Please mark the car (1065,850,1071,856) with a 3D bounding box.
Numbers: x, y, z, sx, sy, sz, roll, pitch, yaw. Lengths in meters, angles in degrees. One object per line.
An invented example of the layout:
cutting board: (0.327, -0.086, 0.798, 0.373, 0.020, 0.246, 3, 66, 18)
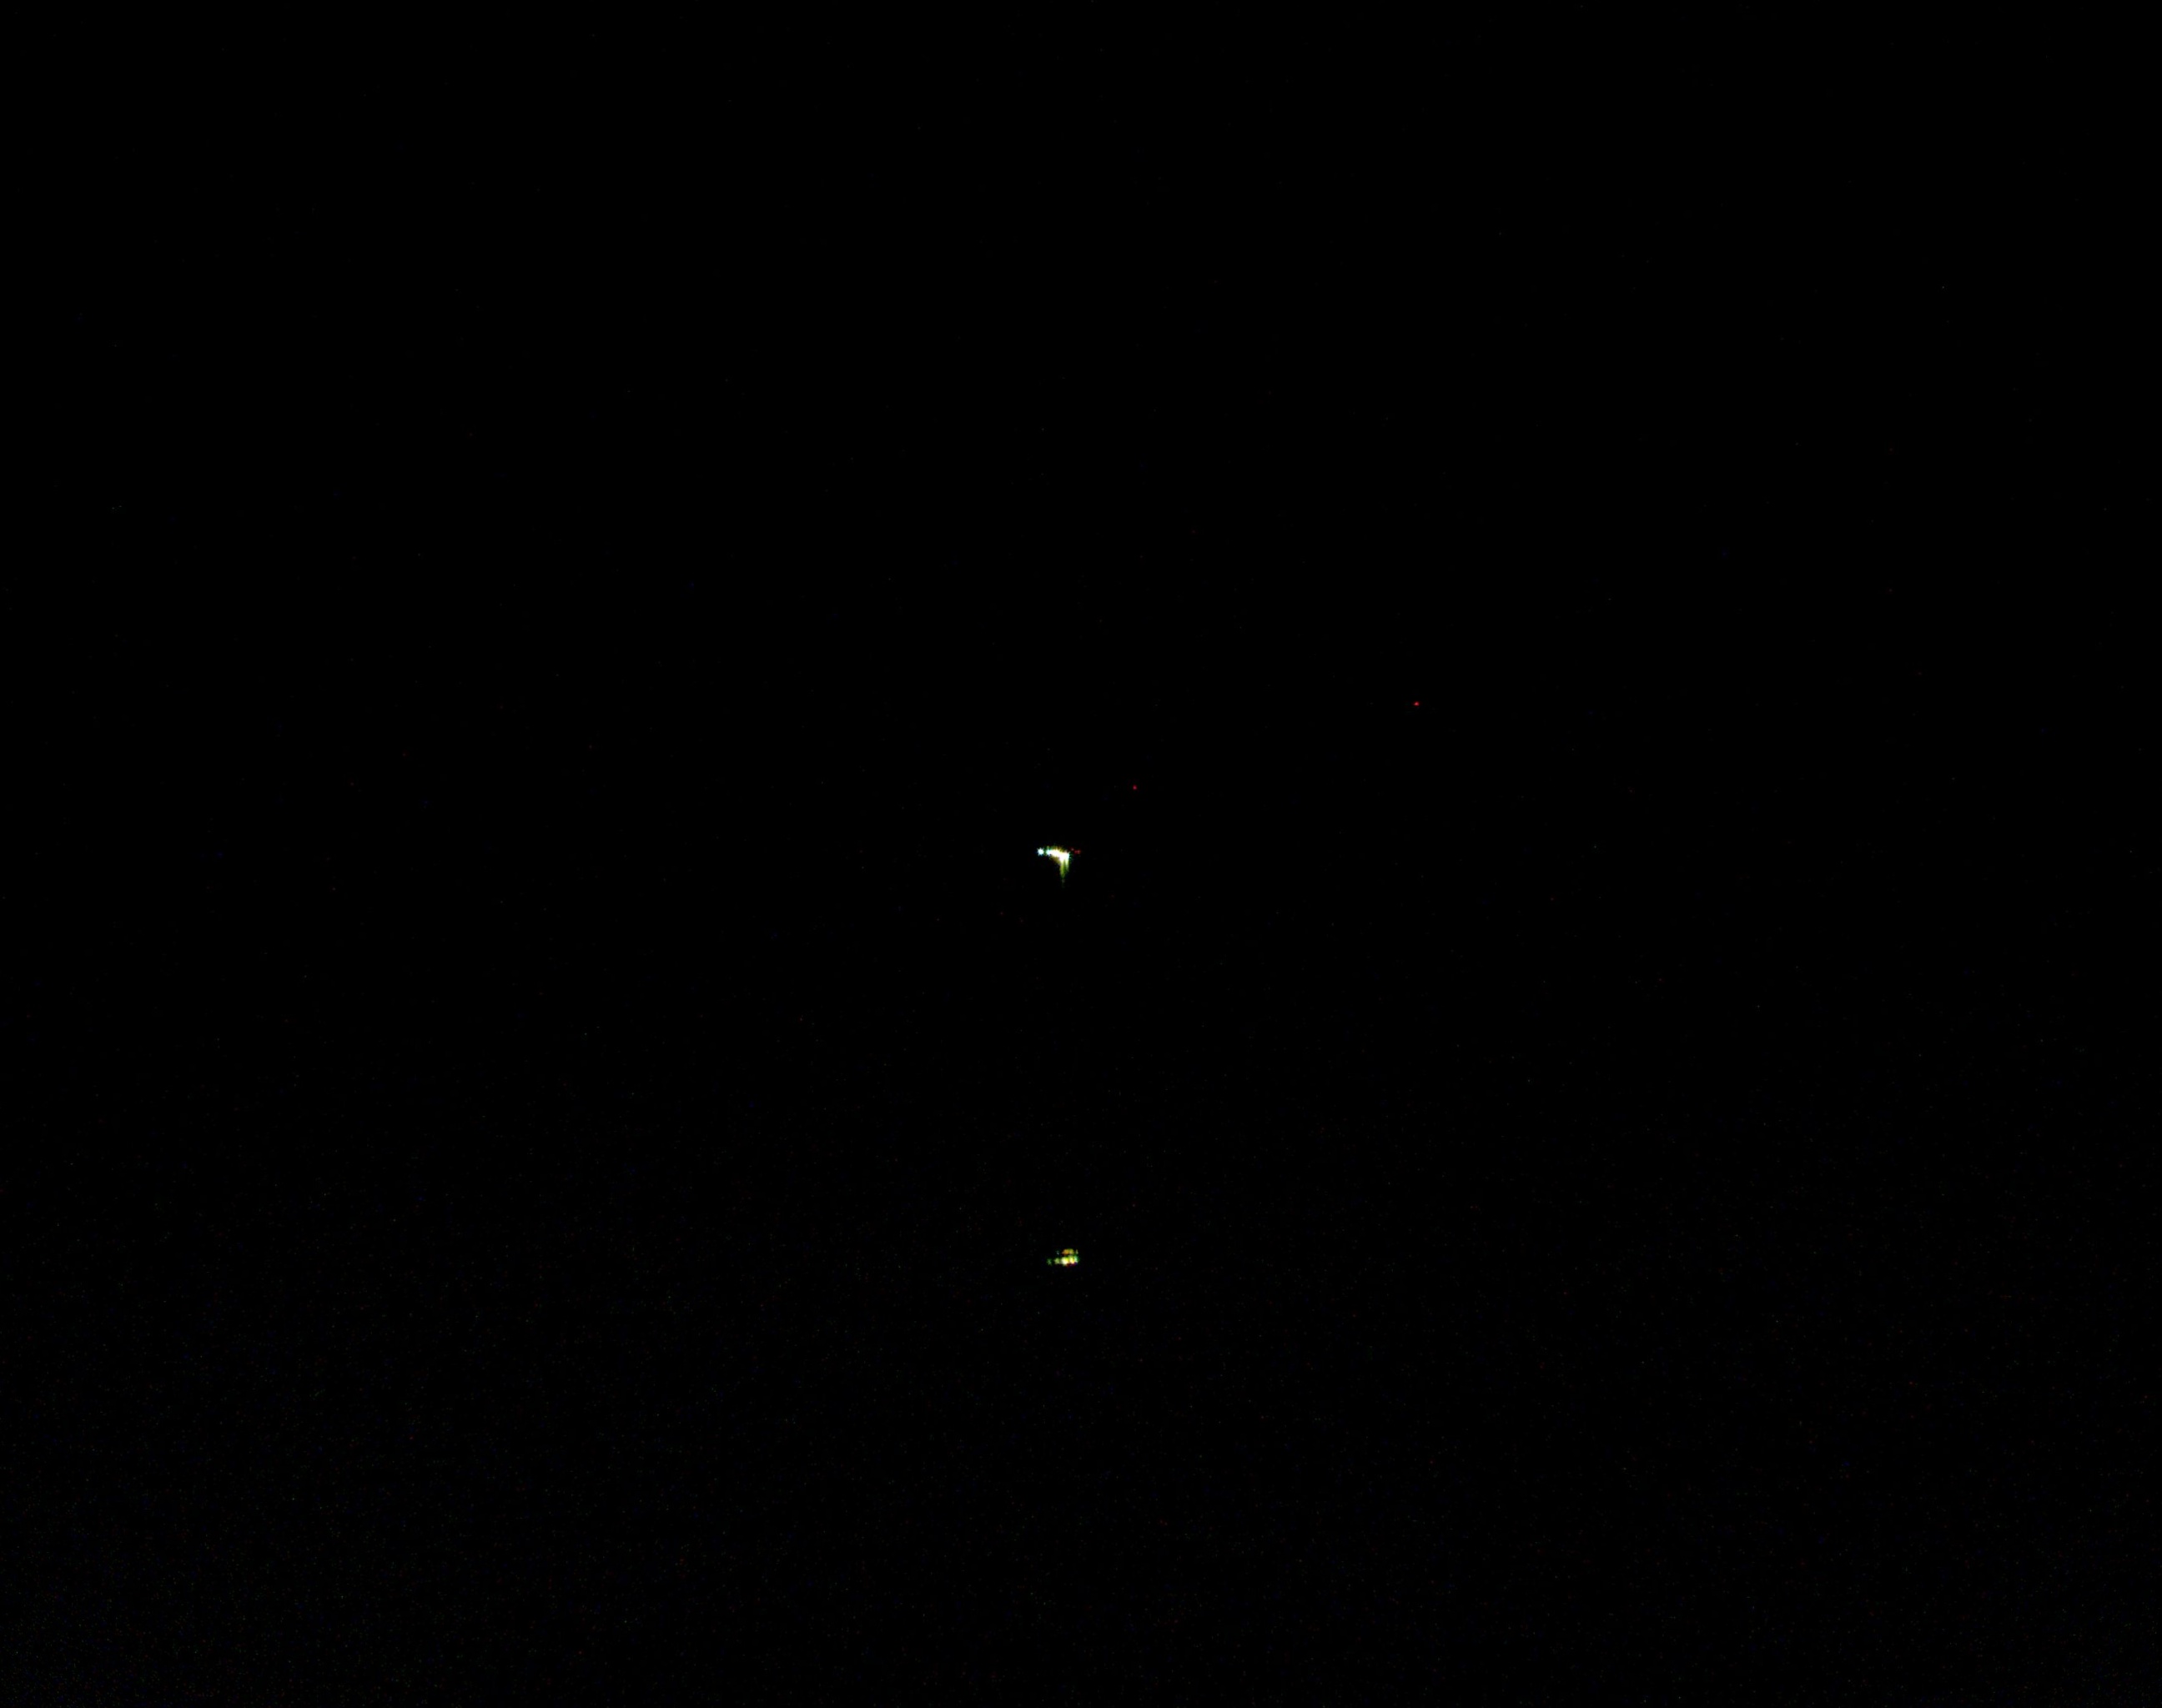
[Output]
car: (-4.096, -0.359, 236.062, 1.860, 1.609, 3.998, -1, 1, -3)
